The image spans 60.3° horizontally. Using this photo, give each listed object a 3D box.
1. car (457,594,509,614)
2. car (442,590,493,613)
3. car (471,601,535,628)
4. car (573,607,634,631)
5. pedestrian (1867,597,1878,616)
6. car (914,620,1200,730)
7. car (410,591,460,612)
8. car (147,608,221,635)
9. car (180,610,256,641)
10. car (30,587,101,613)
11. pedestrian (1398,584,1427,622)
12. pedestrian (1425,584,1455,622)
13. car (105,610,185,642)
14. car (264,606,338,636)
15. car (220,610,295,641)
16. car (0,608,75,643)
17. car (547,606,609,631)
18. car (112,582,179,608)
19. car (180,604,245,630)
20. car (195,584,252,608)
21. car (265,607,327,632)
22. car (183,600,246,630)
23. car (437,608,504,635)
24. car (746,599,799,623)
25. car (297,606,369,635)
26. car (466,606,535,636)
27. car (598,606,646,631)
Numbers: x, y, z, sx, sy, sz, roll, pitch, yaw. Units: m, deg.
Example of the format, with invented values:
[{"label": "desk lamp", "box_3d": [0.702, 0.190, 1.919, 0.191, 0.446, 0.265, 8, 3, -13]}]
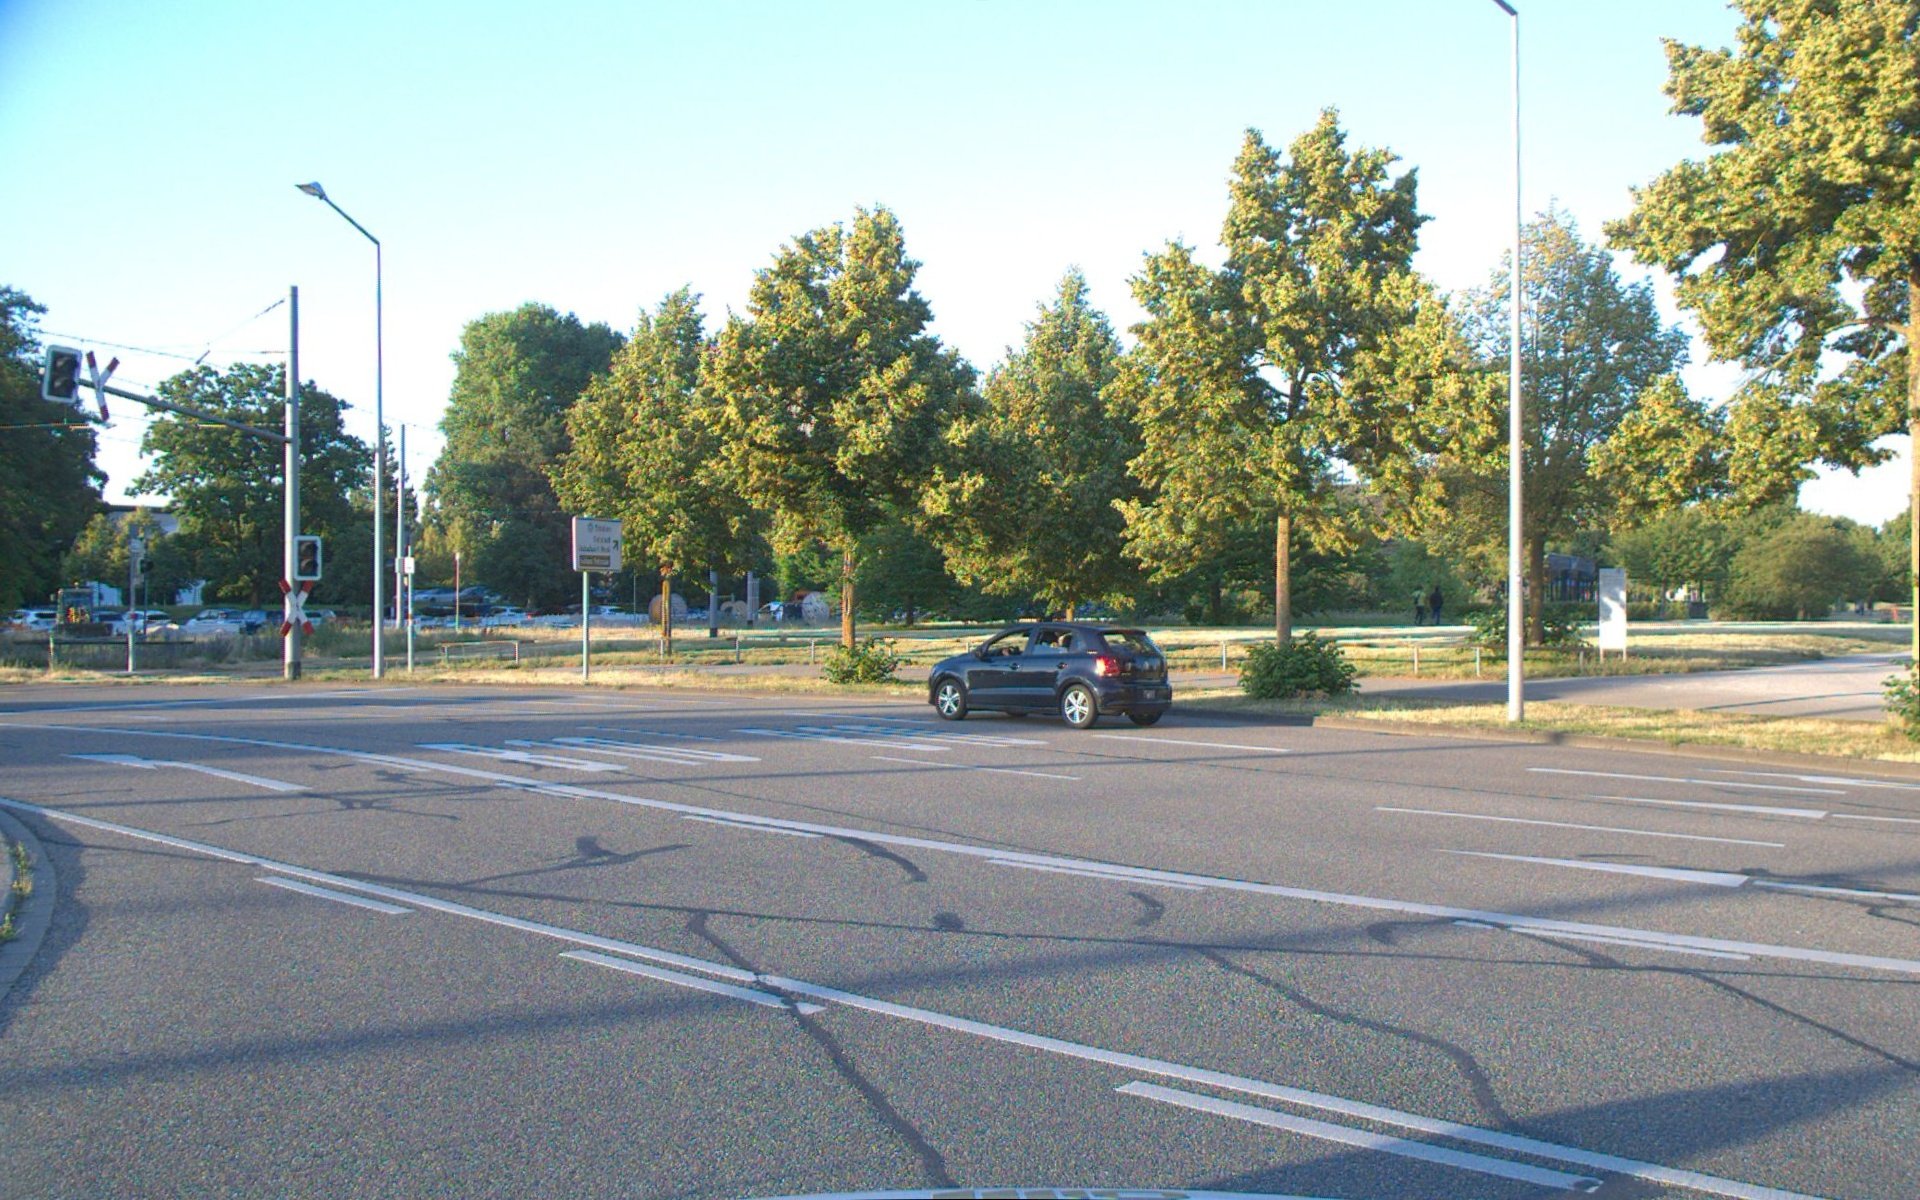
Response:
[{"label": "car", "box_3d": [-41.692, 0.310, 144.719, 3.902, 1.736, 2.001, 0, 0, 6]}, {"label": "car", "box_3d": [-44.092, 0.124, 148.231, 1.963, 2.049, 3.979, 0, 0, 40]}, {"label": "car", "box_3d": [-34.595, 1.096, 125.258, 4.499, 2.049, 1.996, 0, 0, -9]}, {"label": "car", "box_3d": [-24.902, 1.333, 115.420, 3.915, 1.632, 1.995, 0, 0, 32]}, {"label": "pedestrian", "box_3d": [84.058, 0.586, 152.406, 0.835, 1.690, 0.978, 0, 0, 25]}, {"label": "car", "box_3d": [1.325, 1.007, 23.578, 3.930, 1.378, 1.684, 0, 0, 43]}, {"label": "car", "box_3d": [-47.954, 0.128, 151.058, 1.959, 1.847, 3.987, 0, 0, 34]}, {"label": "car", "box_3d": [-50.231, 1.379, 107.078, 1.863, 1.691, 3.987, 0, 0, 34]}, {"label": "car", "box_3d": [-40.531, 1.372, 90.372, 3.915, 1.632, 1.995, 0, 0, 32]}, {"label": "car", "box_3d": [-70.536, -0.013, 130.458, 1.956, 2.049, 4.590, 0, 0, 29]}, {"label": "pedestrian", "box_3d": [19.965, 0.131, 72.963, 1.047, 1.646, 0.911, 0, 0, 2]}, {"label": "pedestrian", "box_3d": [21.056, 0.135, 72.555, 1.047, 1.646, 0.911, 0, 0, 2]}, {"label": "car", "box_3d": [-42.255, 1.322, 85.782, 3.915, 1.632, 1.995, 0, 0, 32]}, {"label": "car", "box_3d": [-37.389, 1.175, 93.865, 3.915, 1.632, 1.995, 0, 0, 32]}, {"label": "car", "box_3d": [-39.089, 1.404, 92.039, 3.915, 1.632, 1.995, 0, 0, 32]}, {"label": "car", "box_3d": [-45.625, 1.245, 81.429, 3.915, 1.632, 1.995, 0, 0, 32]}, {"label": "car", "box_3d": [-26.271, 1.247, 113.670, 3.915, 1.632, 1.995, 0, 0, 32]}, {"label": "car", "box_3d": [-67.120, -0.401, 136.333, 1.958, 2.049, 4.585, 0, 0, 33]}, {"label": "car", "box_3d": [-50.562, 1.119, 111.865, 3.939, 1.691, 1.983, 0, 0, -27]}, {"label": "car", "box_3d": [-63.378, -0.312, 142.354, 1.958, 2.049, 4.105, 0, 0, 33]}, {"label": "car", "box_3d": [-45.818, 1.330, 114.106, 3.933, 1.691, 1.889, 0, 0, -23]}, {"label": "car", "box_3d": [-52.122, 1.052, 115.594, 3.939, 2.049, 1.983, 0, 0, -27]}, {"label": "car", "box_3d": [-30.977, 1.332, 104.681, 3.915, 1.632, 1.995, 0, 0, 32]}, {"label": "car", "box_3d": [-13.004, 0.771, 114.669, 1.724, 1.646, 3.940, 0, 0, -41]}, {"label": "car", "box_3d": [-36.444, 1.201, 96.083, 3.915, 1.632, 1.995, 0, 0, 32]}, {"label": "car", "box_3d": [-32.526, 1.451, 117.151, 4.499, 2.049, 1.996, 0, 0, -9]}, {"label": "car", "box_3d": [-26.366, 1.405, 128.875, 1.979, 1.782, 4.538, 0, 1, -37]}]
